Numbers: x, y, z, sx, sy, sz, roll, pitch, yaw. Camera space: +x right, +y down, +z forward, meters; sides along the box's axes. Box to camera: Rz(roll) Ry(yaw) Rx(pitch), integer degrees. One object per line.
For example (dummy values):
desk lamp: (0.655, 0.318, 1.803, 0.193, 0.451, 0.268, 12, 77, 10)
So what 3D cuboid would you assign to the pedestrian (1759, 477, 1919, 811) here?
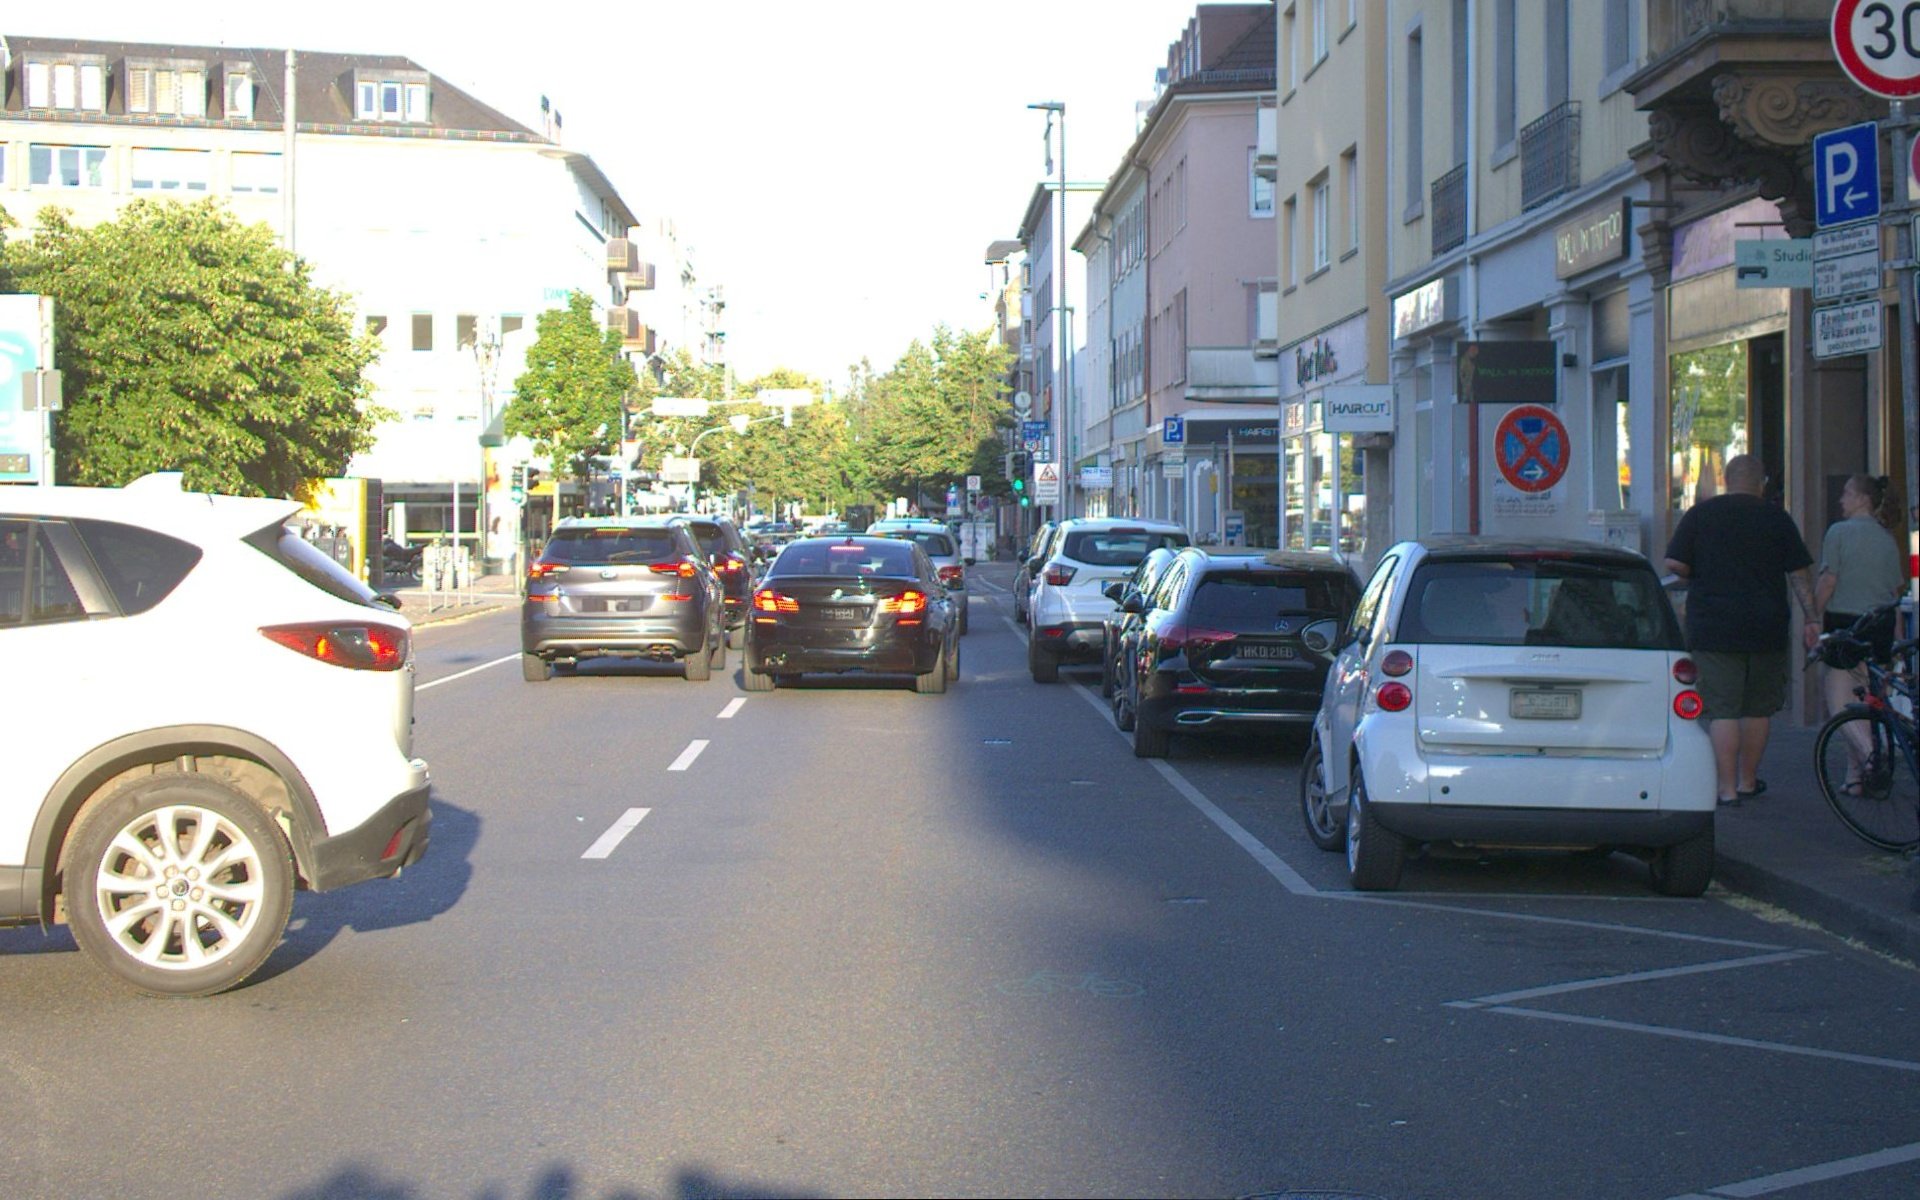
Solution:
pedestrian: (4.791, 0.213, 18.276, 0.772, 1.705, 1.042, -2, 1, -2)

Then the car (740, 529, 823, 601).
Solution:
car: (-3.957, -0.802, 76.760, 1.779, 1.542, 4.001, 0, 1, -2)

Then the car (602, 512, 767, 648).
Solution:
car: (-3.471, -0.289, 43.892, 1.896, 1.644, 4.105, 0, 1, -2)

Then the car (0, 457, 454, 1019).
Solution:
car: (-4.053, 0.428, 11.534, 4.450, 1.755, 2.001, -1, 1, -14)

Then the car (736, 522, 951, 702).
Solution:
car: (-1.100, 0.063, 32.803, 1.896, 1.575, 4.001, 1, 1, -2)

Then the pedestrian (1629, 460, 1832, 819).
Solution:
pedestrian: (4.058, 0.190, 18.155, 0.772, 1.821, 1.011, -2, 1, -2)

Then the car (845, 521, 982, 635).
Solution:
car: (-0.713, -0.356, 50.636, 1.896, 1.575, 4.001, 1, 1, -2)

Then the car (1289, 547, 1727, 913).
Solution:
car: (2.478, 0.528, 16.217, 1.532, 1.531, 3.283, 1, 1, 0)

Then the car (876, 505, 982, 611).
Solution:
car: (-0.618, -0.863, 69.468, 1.993, 2.007, 4.000, 2, 1, 0)

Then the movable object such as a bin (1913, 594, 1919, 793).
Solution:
movable object such as a bin: (5.535, 0.495, 18.182, 0.774, 1.066, 0.618, -2, 1, -1)

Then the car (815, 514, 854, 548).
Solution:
car: (-5.795, -3.177, 158.516, 1.779, 1.542, 4.001, 0, 1, -2)

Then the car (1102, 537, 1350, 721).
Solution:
car: (2.242, 0.205, 30.036, 1.729, 1.443, 4.474, 2, 1, -1)

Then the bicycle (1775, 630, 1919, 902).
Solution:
bicycle: (3.996, 0.671, 14.669, 0.504, 1.012, 1.947, -1, 1, -2)

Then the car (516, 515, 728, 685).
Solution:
car: (-3.427, -0.043, 35.507, 1.896, 1.644, 4.105, 0, 1, -2)

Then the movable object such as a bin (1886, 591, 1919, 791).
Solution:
movable object such as a bin: (5.567, 0.482, 18.835, 0.774, 1.066, 0.618, -2, 1, -1)

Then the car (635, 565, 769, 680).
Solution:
car: (-3.708, 0.291, 49.959, 1.779, 1.542, 4.001, 0, 1, -2)

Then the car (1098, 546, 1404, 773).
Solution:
car: (2.002, 0.359, 24.835, 1.729, 1.443, 4.524, 2, 1, -1)

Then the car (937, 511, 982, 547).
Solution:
car: (-0.044, -3.207, 154.285, 1.896, 1.575, 3.852, 0, 2, -2)

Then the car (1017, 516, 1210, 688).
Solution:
car: (1.546, -0.013, 35.963, 1.729, 1.645, 4.285, 2, 1, -1)

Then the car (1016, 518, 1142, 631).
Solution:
car: (1.814, -0.411, 53.453, 1.729, 1.646, 3.970, 2, 1, -1)

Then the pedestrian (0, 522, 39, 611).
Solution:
pedestrian: (-17.080, -0.602, 61.876, 0.791, 1.589, 0.568, 1, 1, 18)
